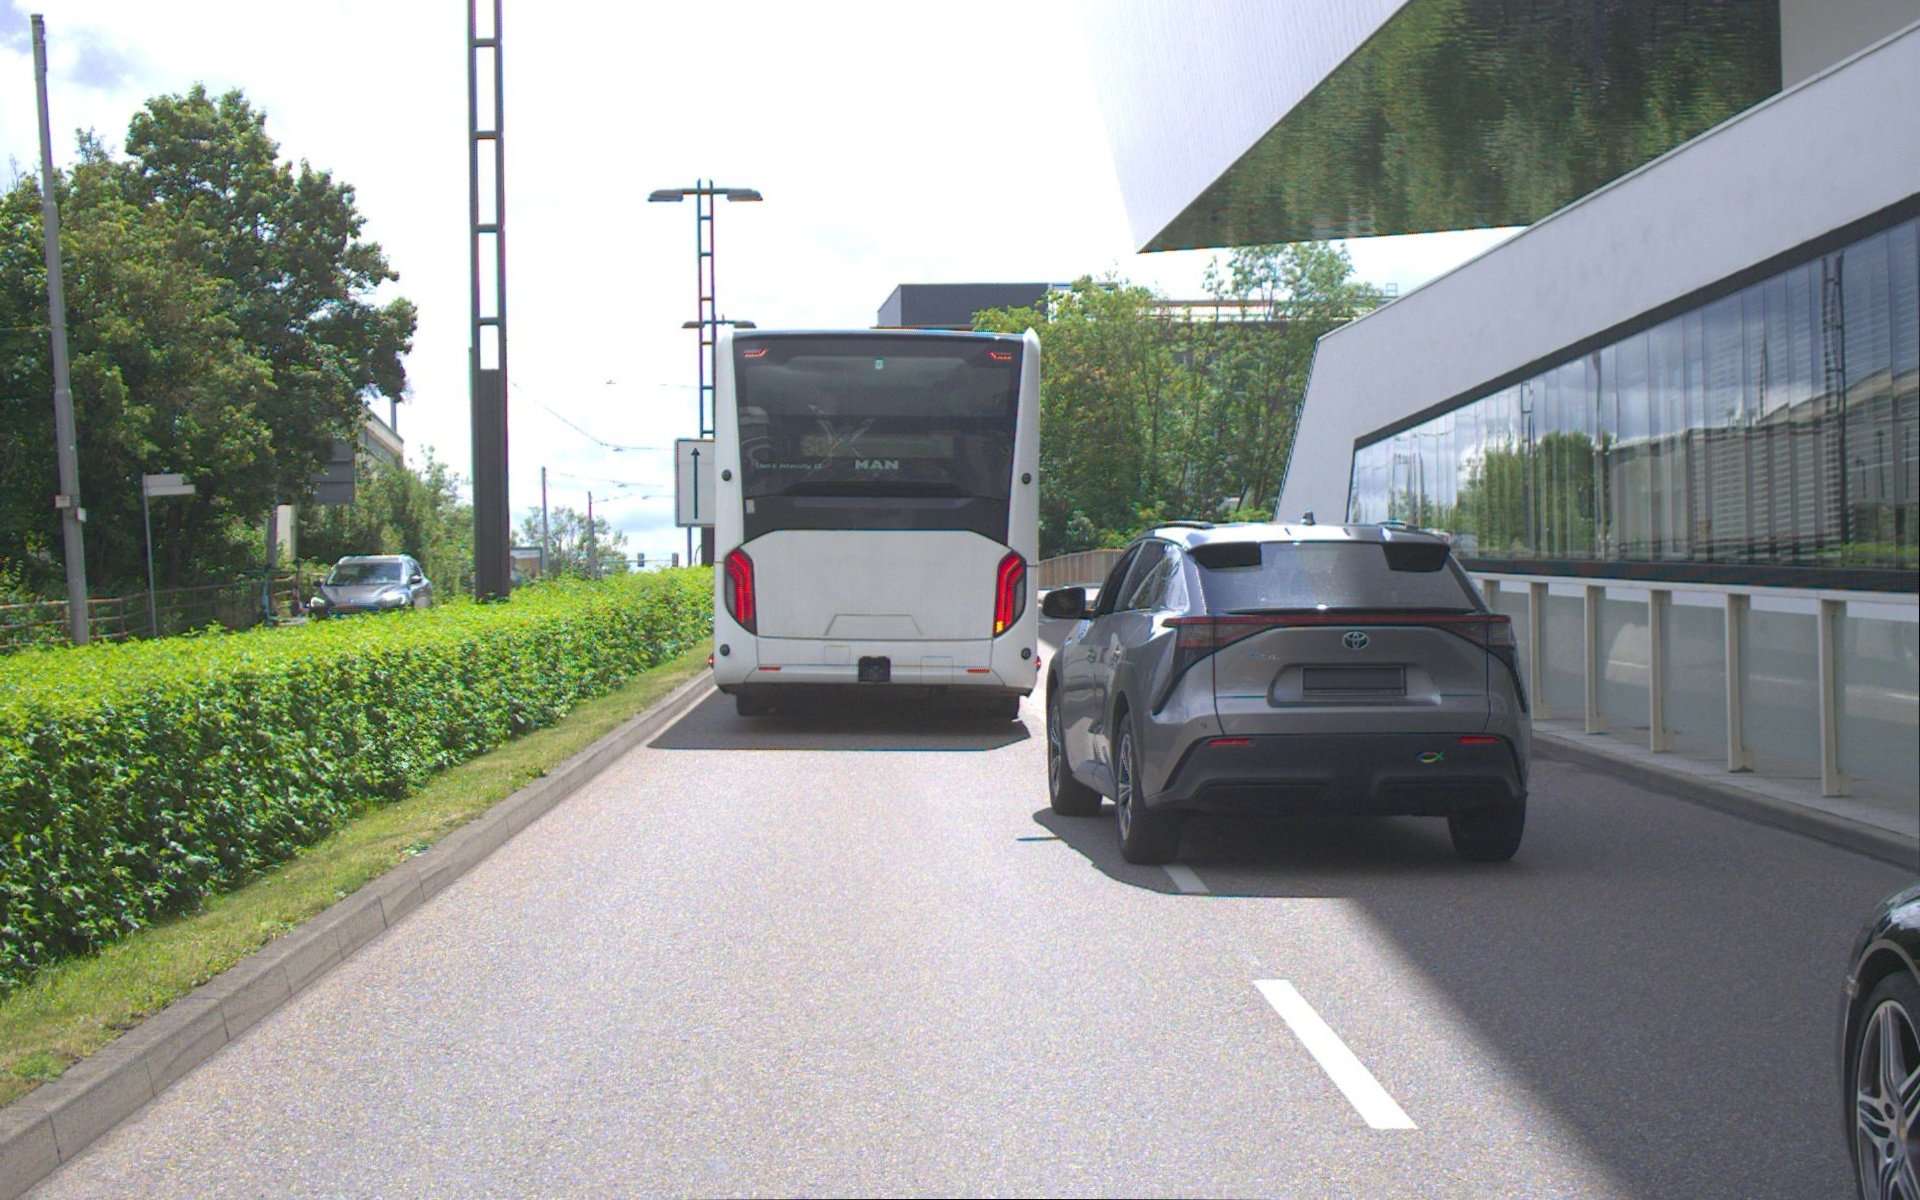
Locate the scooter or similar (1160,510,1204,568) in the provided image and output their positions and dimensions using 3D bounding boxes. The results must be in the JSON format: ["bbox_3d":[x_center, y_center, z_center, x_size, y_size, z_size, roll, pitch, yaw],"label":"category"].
[{"bbox_3d":[4.788,-1.317,74.264,0.653,1.210,1.858,-2,1,-5],"label":"scooter or similar"}]

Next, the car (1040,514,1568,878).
[{"bbox_3d":[1.562,0.407,17.180,1.879,1.588,4.230,0,0,-5],"label":"car"}]

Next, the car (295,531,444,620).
[{"bbox_3d":[-10.615,-0.475,62.086,1.840,1.502,4.561,-2,1,0],"label":"car"}]

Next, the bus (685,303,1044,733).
[{"bbox_3d":[-0.837,-0.797,32.193,2.689,3.244,12.059,1,2,-1],"label":"bus"}]

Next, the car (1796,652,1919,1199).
[{"bbox_3d":[2.736,0.771,5.458,1.719,1.271,4.088,0,1,-2],"label":"car"}]
